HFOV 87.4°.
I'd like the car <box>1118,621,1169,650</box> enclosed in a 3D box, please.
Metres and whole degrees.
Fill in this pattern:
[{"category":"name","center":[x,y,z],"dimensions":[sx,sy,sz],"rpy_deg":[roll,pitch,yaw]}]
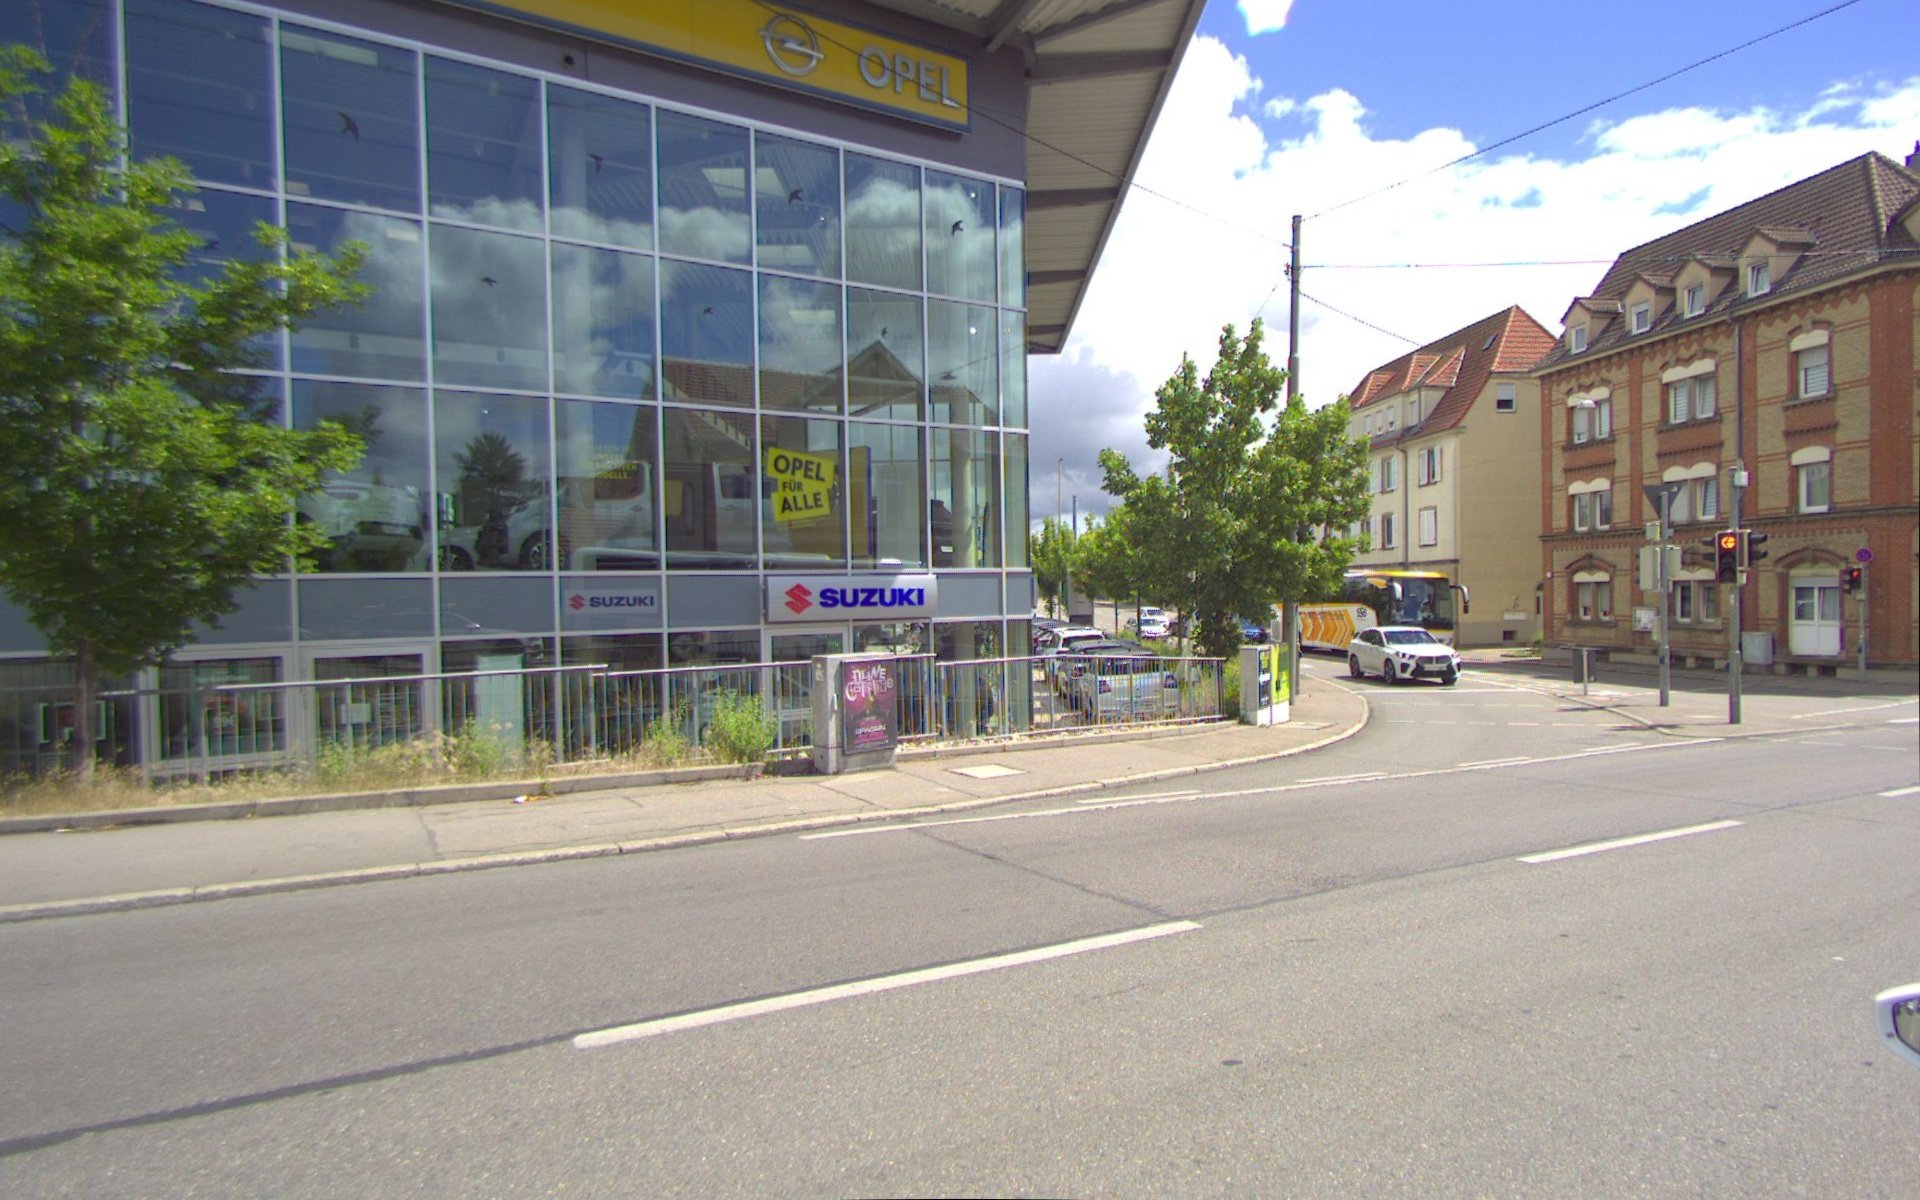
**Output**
[{"category":"car","center":[10.531,2.010,57.837],"dimensions":[1.823,1.617,3.996],"rpy_deg":[1,-1,-6]}]

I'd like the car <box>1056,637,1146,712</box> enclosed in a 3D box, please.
[{"category":"car","center":[3.351,1.757,24.459],"dimensions":[1.584,1.547,3.499],"rpy_deg":[-1,0,-2]}]

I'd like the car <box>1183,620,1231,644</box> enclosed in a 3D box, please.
[{"category":"car","center":[15.481,2.005,63.231],"dimensions":[1.874,1.428,3.999],"rpy_deg":[1,-1,-2]}]

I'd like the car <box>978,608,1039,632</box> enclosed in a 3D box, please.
[{"category":"car","center":[3.216,1.335,67.439],"dimensions":[3.922,1.574,1.807],"rpy_deg":[1,-1,-1]}]

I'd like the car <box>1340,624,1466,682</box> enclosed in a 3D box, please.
[{"category":"car","center":[12.841,1.546,29.410],"dimensions":[1.797,1.572,4.308],"rpy_deg":[0,-3,0]}]

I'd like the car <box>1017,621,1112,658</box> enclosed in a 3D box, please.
[{"category":"car","center":[4.666,1.757,45.103],"dimensions":[3.925,1.574,1.806],"rpy_deg":[1,-1,-7]}]

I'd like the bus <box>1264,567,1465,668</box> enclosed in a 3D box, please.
[{"category":"bus","center":[16.868,0.569,43.374],"dimensions":[2.719,3.670,12.253],"rpy_deg":[1,1,-5]}]

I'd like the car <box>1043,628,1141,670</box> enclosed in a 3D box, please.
[{"category":"car","center":[4.856,1.793,37.350],"dimensions":[3.430,1.497,1.800],"rpy_deg":[0,-1,1]}]

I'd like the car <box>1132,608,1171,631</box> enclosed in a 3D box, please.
[{"category":"car","center":[13.563,1.364,71.414],"dimensions":[1.874,1.574,3.999],"rpy_deg":[1,-1,-2]}]

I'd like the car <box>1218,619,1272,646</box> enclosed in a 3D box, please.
[{"category":"car","center":[15.743,1.761,55.704],"dimensions":[1.717,1.428,3.999],"rpy_deg":[1,-1,-3]}]

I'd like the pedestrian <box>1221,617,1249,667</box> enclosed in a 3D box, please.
[{"category":"pedestrian","center":[9.977,1.506,36.458],"dimensions":[0.744,1.757,1.145],"rpy_deg":[1,-1,2]}]

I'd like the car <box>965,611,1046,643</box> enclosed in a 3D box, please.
[{"category":"car","center":[2.359,1.411,52.794],"dimensions":[3.930,1.574,1.804],"rpy_deg":[1,-1,-12]}]

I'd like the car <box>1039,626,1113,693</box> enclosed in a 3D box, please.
[{"category":"car","center":[3.308,1.671,29.202],"dimensions":[1.620,1.703,3.499],"rpy_deg":[-1,0,-2]}]

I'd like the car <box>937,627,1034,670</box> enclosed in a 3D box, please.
[{"category":"car","center":[0.895,1.764,36.956],"dimensions":[3.432,1.467,1.799],"rpy_deg":[-1,0,-3]}]

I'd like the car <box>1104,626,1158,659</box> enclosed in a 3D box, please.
[{"category":"car","center":[8.258,2.040,48.888],"dimensions":[1.766,1.467,3.498],"rpy_deg":[1,-1,-5]}]

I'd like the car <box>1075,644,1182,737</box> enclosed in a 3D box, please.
[{"category":"car","center":[3.345,1.762,20.459],"dimensions":[1.648,1.582,3.365],"rpy_deg":[-1,0,1]}]
